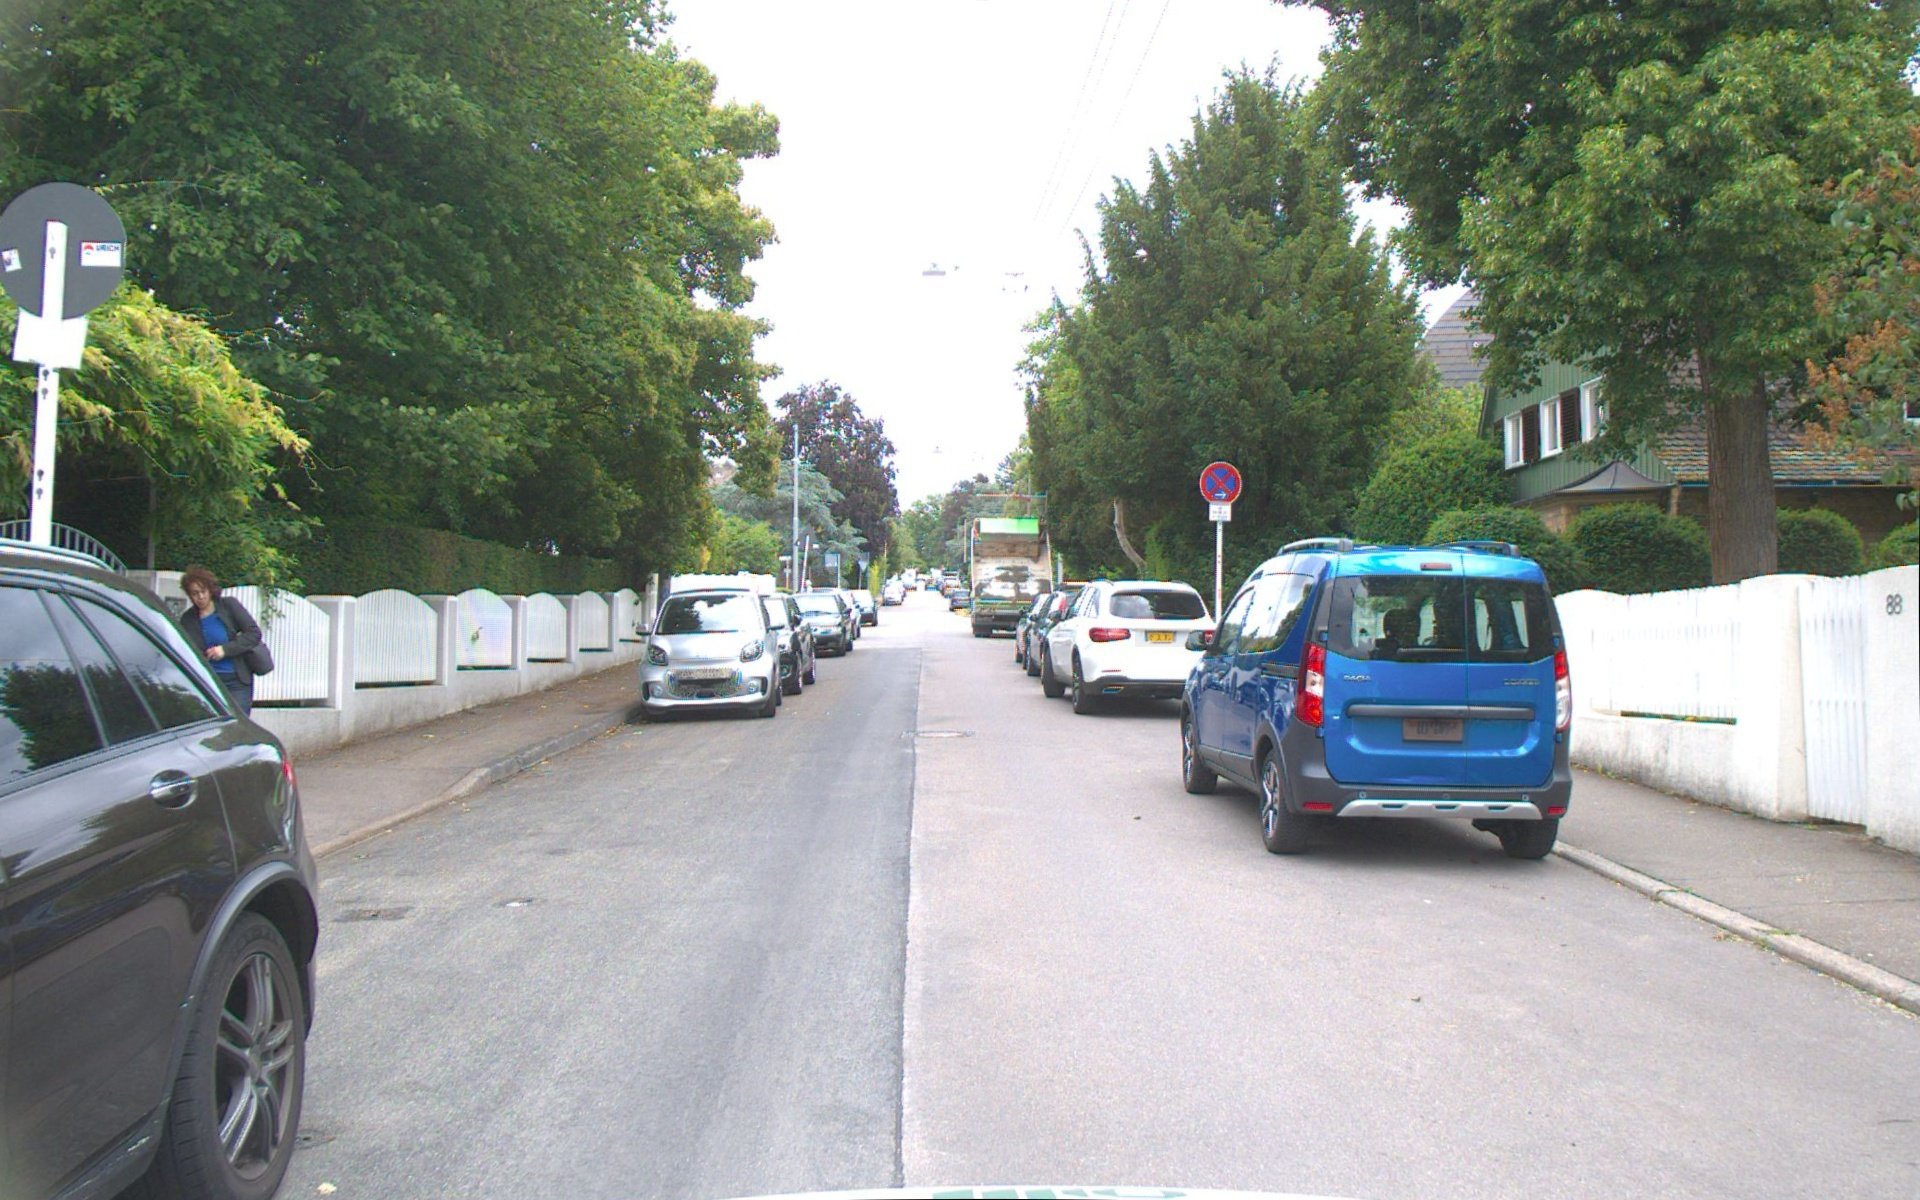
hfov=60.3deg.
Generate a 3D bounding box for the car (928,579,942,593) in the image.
[{"bbox_3d":[-3.109,-1.741,205.104,1.601,1.731,3.493,1,1,-2],"label":"car"}]

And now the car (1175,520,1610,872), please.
[{"bbox_3d":[2.629,0.502,11.086,1.649,1.861,4.155,2,1,-2],"label":"car"}]

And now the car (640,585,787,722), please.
[{"bbox_3d":[-3.071,0.613,21.050,1.590,1.560,2.960,-2,1,-5],"label":"car"}]

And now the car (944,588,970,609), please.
[{"bbox_3d":[-0.262,-0.112,122.240,1.743,1.515,3.998,0,0,-2],"label":"car"}]

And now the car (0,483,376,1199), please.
[{"bbox_3d":[-2.435,0.649,2.517,1.755,1.651,4.340,-1,0,-4],"label":"car"}]

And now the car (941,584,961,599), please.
[{"bbox_3d":[-0.907,-0.863,165.779,1.774,1.359,3.631,2,1,-2],"label":"car"}]

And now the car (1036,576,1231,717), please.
[{"bbox_3d":[2.174,0.540,21.926,1.723,1.634,4.570,1,0,-5],"label":"car"}]

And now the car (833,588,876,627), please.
[{"bbox_3d":[-4.153,0.284,65.429,1.604,1.419,3.987,-2,1,-3],"label":"car"}]

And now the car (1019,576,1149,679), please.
[{"bbox_3d":[2.016,0.421,27.990,1.664,1.598,4.306,0,0,-3],"label":"car"}]

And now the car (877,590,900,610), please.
[{"bbox_3d":[-6.101,-0.015,142.087,1.676,1.613,4.001,1,0,1],"label":"car"}]

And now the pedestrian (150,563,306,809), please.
[{"bbox_3d":[-4.988,0.566,11.314,0.596,1.573,0.797,5,0,-2],"label":"pedestrian"}]

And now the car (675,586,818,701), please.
[{"bbox_3d":[-3.113,0.585,24.750,1.621,1.507,3.887,-2,1,-1],"label":"car"}]

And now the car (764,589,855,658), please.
[{"bbox_3d":[-3.452,0.498,38.602,1.607,1.447,4.550,-2,0,1],"label":"car"}]

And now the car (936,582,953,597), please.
[{"bbox_3d":[-1.592,-1.134,174.661,1.753,1.556,3.734,1,0,0],"label":"car"}]

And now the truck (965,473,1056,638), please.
[{"bbox_3d":[1.508,-1.334,52.601,2.473,4.831,7.186,1,0,-1],"label":"truck"}]

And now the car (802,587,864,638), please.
[{"bbox_3d":[-3.816,0.348,50.031,1.563,1.458,4.000,-2,0,-1],"label":"car"}]
